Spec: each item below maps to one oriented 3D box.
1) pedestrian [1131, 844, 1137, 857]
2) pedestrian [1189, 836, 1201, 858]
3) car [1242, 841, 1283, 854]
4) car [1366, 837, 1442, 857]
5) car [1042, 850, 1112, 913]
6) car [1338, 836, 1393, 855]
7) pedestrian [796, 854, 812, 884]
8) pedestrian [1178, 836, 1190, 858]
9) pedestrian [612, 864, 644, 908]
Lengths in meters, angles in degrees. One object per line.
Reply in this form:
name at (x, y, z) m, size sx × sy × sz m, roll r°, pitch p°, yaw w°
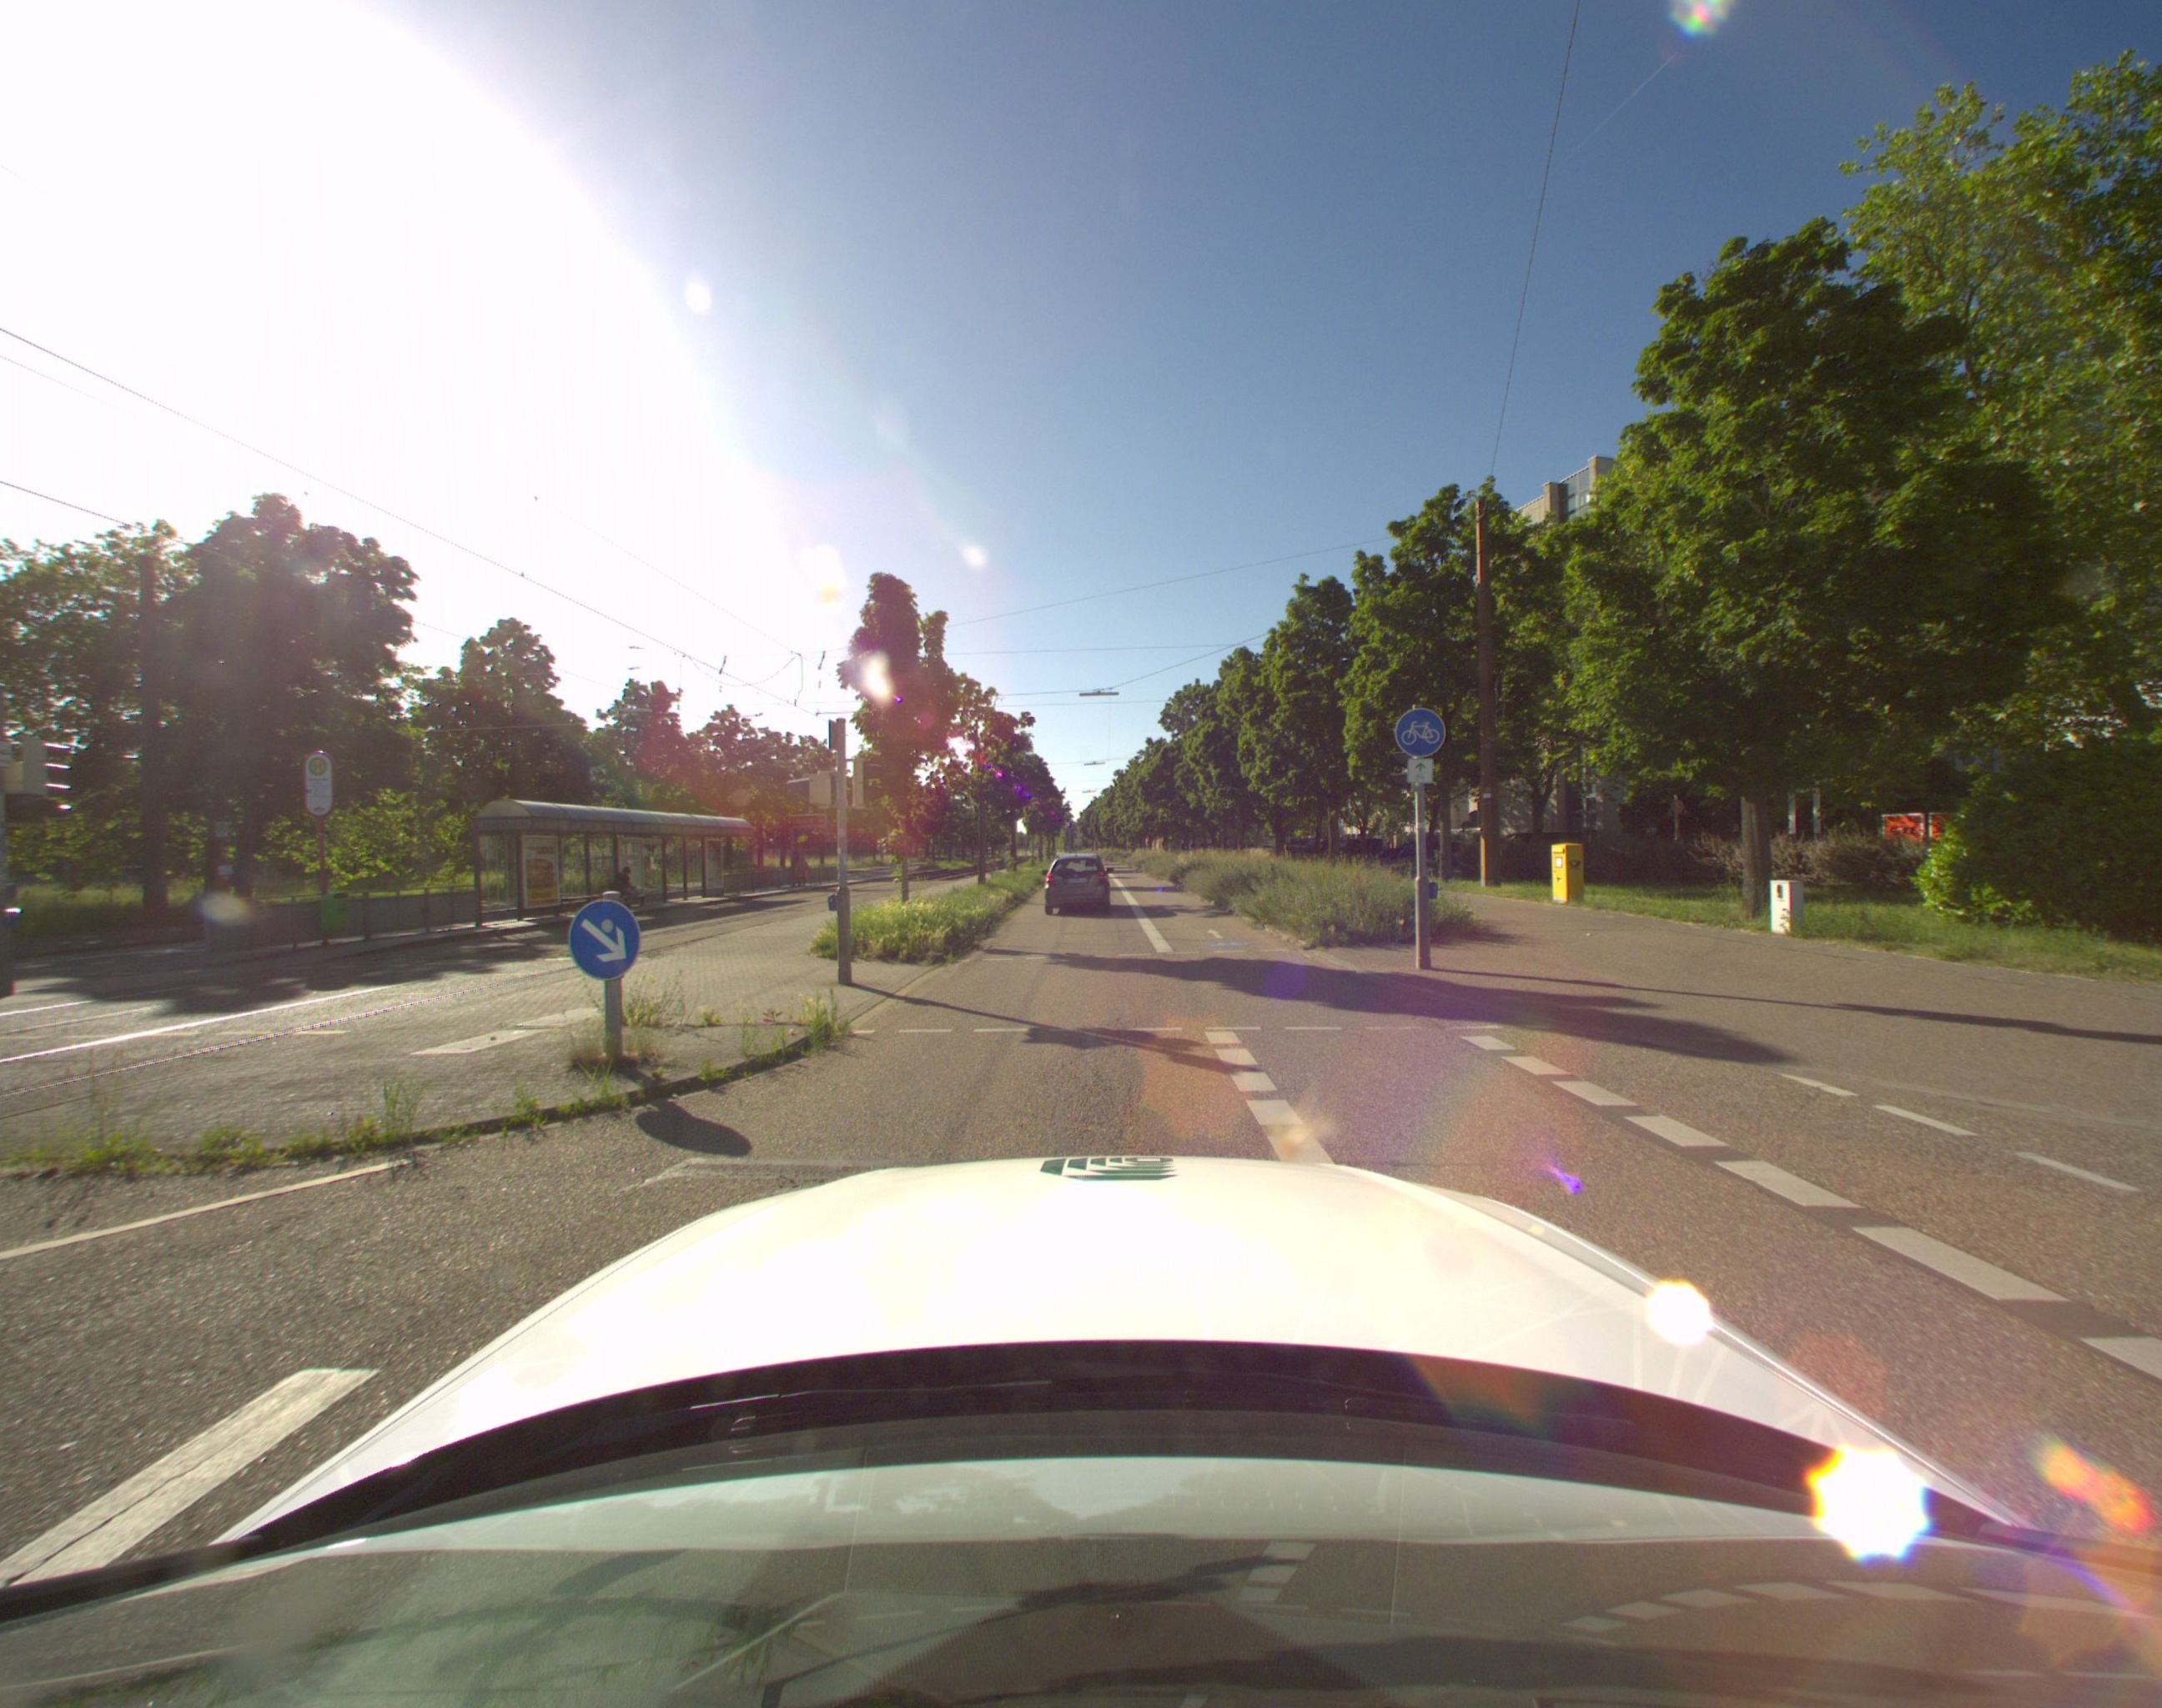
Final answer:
pedestrian at (7.049, -0.442, 109.281) m, size 0.722 × 1.690 × 0.821 m, roll -2°, pitch 0°, yaw 0°
pedestrian at (10.061, -0.622, 71.949) m, size 0.879 × 1.884 × 0.875 m, roll -2°, pitch 0°, yaw -2°
car at (22.782, -0.801, 102.359) m, size 4.622 × 1.555 × 1.997 m, roll -2°, pitch 0°, yaw -4°
car at (23.164, -0.487, 58.485) m, size 4.625 × 1.327 × 2.105 m, roll -1°, pitch 0°, yaw 36°
car at (-0.022, 0.706, 21.824) m, size 1.694 × 1.524 × 3.711 m, roll -1°, pitch -1°, yaw 2°
car at (24.162, -0.738, 69.212) m, size 3.948 × 1.513 × 2.013 m, roll -1°, pitch 0°, yaw 37°
pedestrian at (-13.258, 0.717, 38.977) m, size 0.542 × 1.447 × 0.559 m, roll -2°, pitch -1°, yaw 2°
pedestrian at (9.124, -0.619, 71.962) m, size 0.879 × 1.884 × 0.875 m, roll -2°, pitch 0°, yaw -2°
pedestrian at (-13.560, 0.954, 24.404) m, size 0.562 × 1.257 × 0.581 m, roll -3°, pitch -1°, yaw 1°
